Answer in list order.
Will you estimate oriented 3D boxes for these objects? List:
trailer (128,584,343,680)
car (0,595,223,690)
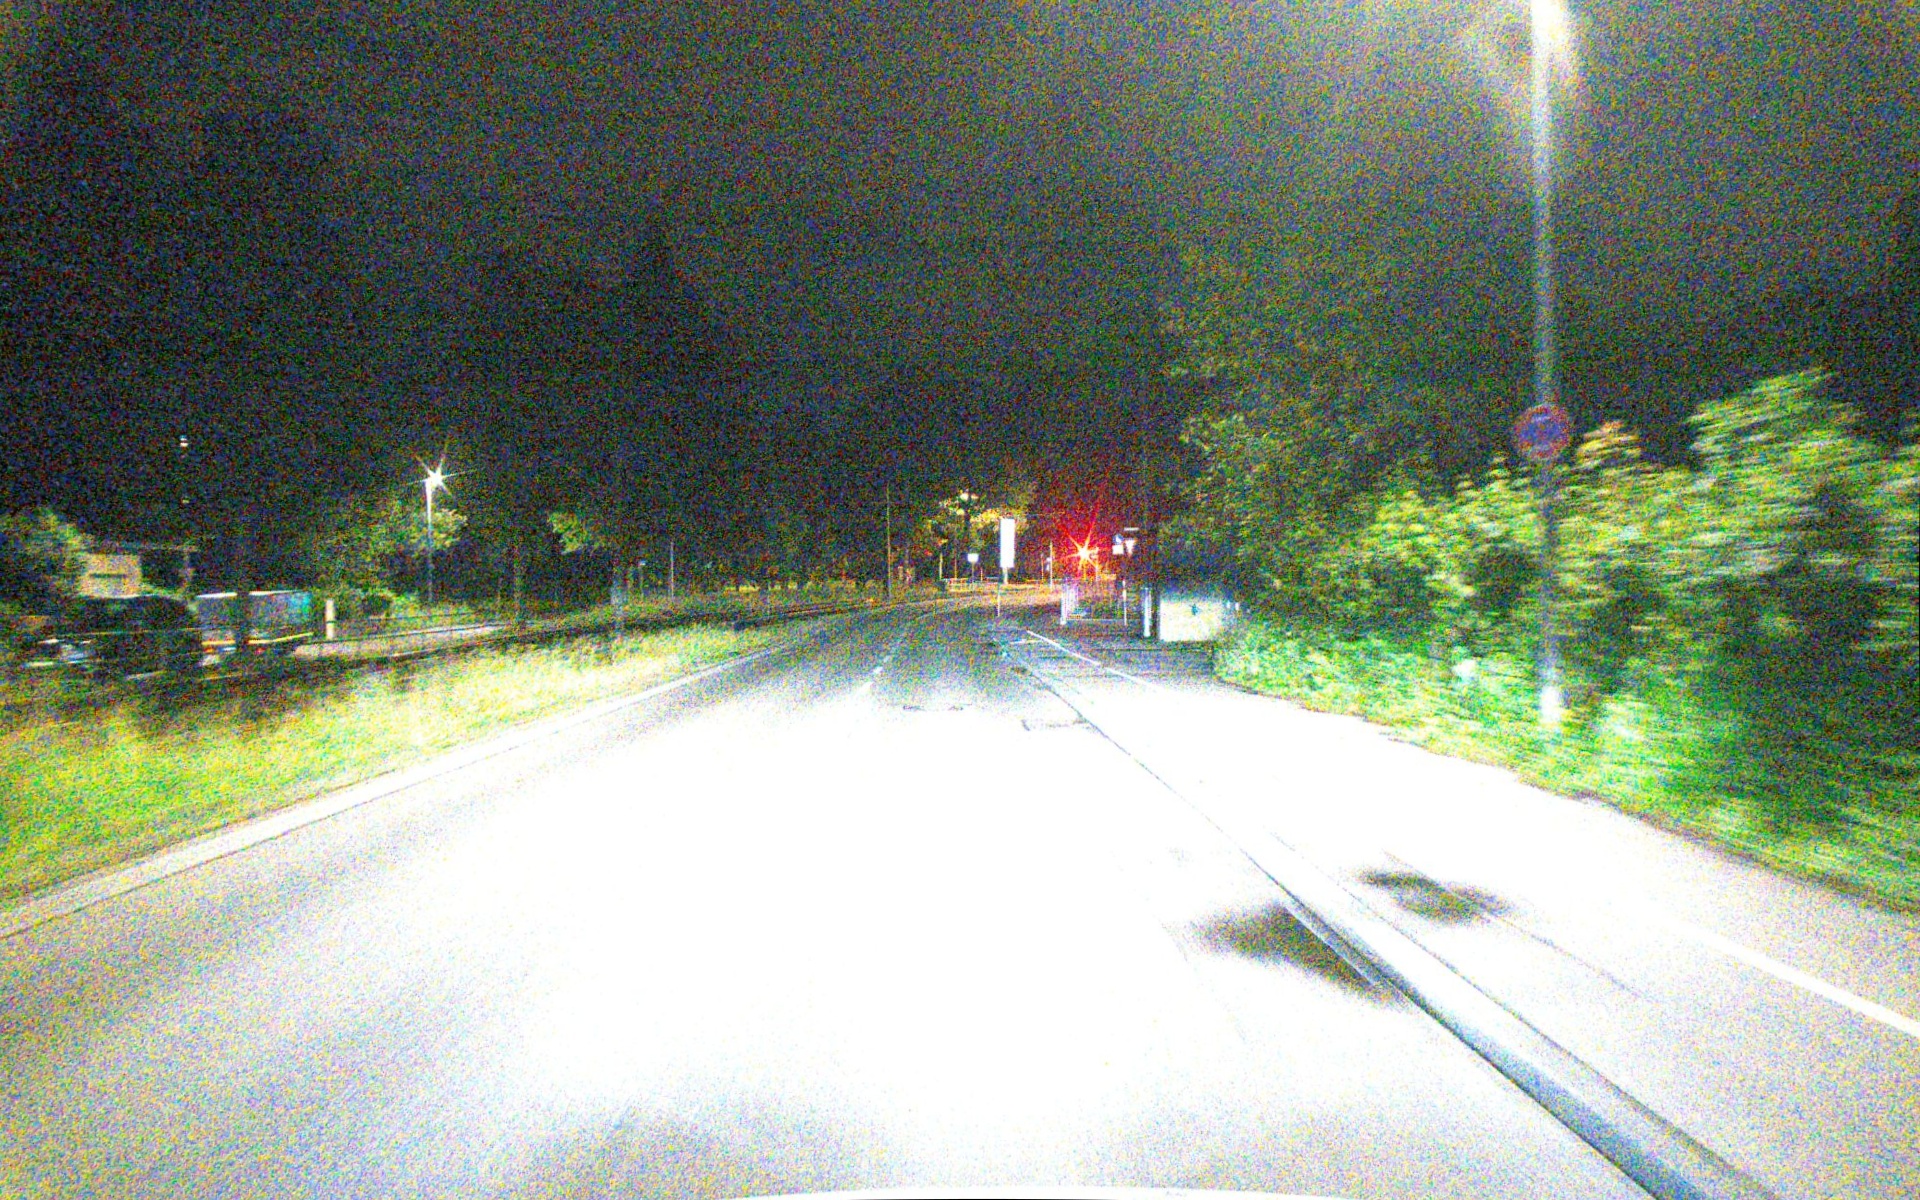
[{"bbox_3d":[-15.487,0.630,35.773,1.983,1.812,5.674,-3,0,1],"label":"trailer"},{"bbox_3d":[-15.574,0.736,30.614,1.681,1.604,4.536,1,0,2],"label":"car"}]
